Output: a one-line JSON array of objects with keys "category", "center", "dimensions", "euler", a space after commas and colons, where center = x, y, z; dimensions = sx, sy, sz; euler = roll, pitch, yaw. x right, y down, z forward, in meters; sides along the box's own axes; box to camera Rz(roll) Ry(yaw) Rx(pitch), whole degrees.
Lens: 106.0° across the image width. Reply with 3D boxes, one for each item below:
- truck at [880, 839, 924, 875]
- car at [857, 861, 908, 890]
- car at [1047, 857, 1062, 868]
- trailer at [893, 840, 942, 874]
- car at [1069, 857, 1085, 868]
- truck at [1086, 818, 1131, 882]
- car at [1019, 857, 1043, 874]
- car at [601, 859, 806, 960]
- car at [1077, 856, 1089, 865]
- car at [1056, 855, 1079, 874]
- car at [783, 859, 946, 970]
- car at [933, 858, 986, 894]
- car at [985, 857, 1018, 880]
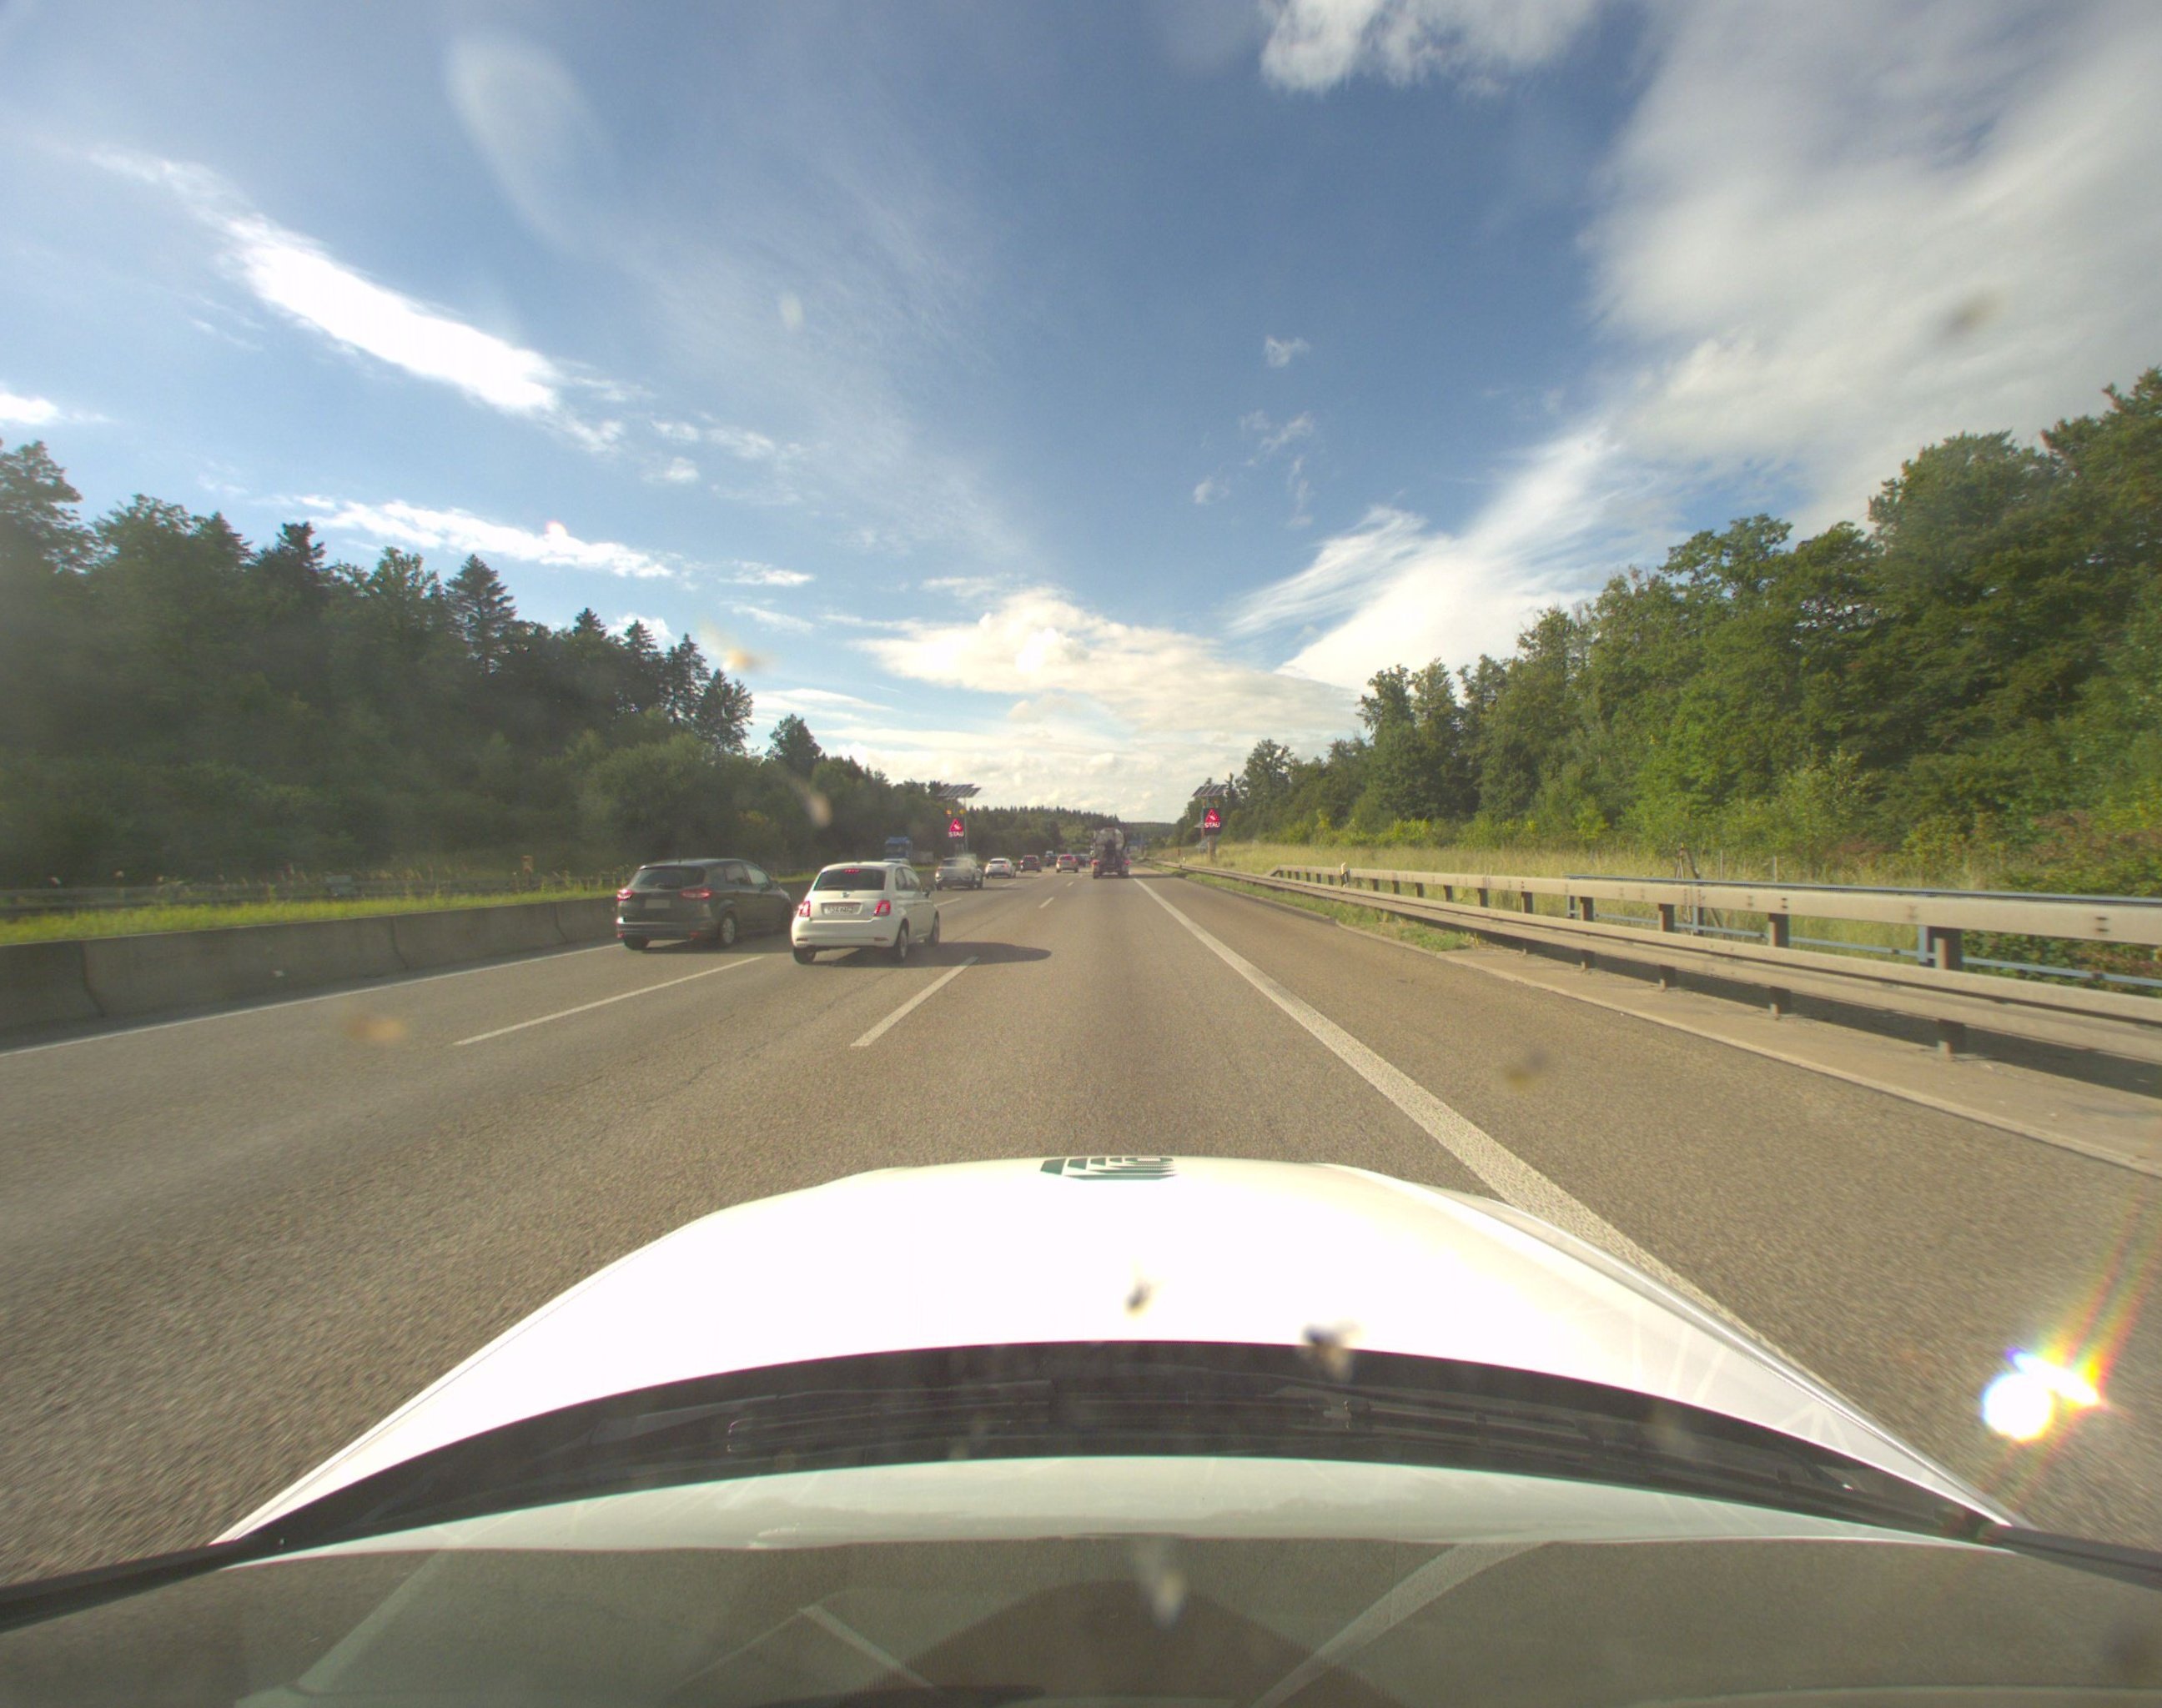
[{"category": "truck", "center": [-20.201, 0.352, 92.150], "dimensions": [3.103, 3.837, 7.126], "euler": [-1, 0, 2]}, {"category": "car", "center": [-13.741, 1.446, 56.682], "dimensions": [2.089, 1.925, 5.286], "euler": [1, 0, 2]}, {"category": "car", "center": [-3.752, 1.239, 116.046], "dimensions": [1.935, 1.456, 4.209], "euler": [0, 0, 2]}, {"category": "trailer", "center": [-19.920, 0.402, 100.106], "dimensions": [3.112, 3.837, 12.214], "euler": [-1, 0, 2]}, {"category": "car", "center": [-0.543, 1.167, 110.143], "dimensions": [1.935, 1.456, 4.209], "euler": [0, 0, 2]}, {"category": "truck", "center": [2.076, -0.258, 59.627], "dimensions": [2.901, 4.157, 11.276], "euler": [-1, 0, 3]}, {"category": "car", "center": [-4.769, 1.070, 78.586], "dimensions": [1.935, 1.586, 4.209], "euler": [0, 0, 2]}, {"category": "car", "center": [-6.915, 0.926, 15.483], "dimensions": [1.800, 1.586, 4.209], "euler": [0, 0, 2]}, {"category": "car", "center": [0.414, 1.154, 140.434], "dimensions": [1.935, 1.456, 4.209], "euler": [0, 0, 2]}, {"category": "car", "center": [-1.223, 0.982, 75.175], "dimensions": [1.935, 1.654, 4.209], "euler": [0, 0, 2]}, {"category": "car", "center": [-3.345, 0.869, 13.252], "dimensions": [1.612, 1.545, 3.521], "euler": [0, -1, 2]}, {"category": "car", "center": [-5.848, 1.012, 39.536], "dimensions": [1.800, 1.586, 4.209], "euler": [0, 0, 2]}, {"category": "car", "center": [-5.733, 1.025, 59.005], "dimensions": [1.800, 1.586, 4.209], "euler": [0, 0, 2]}]
